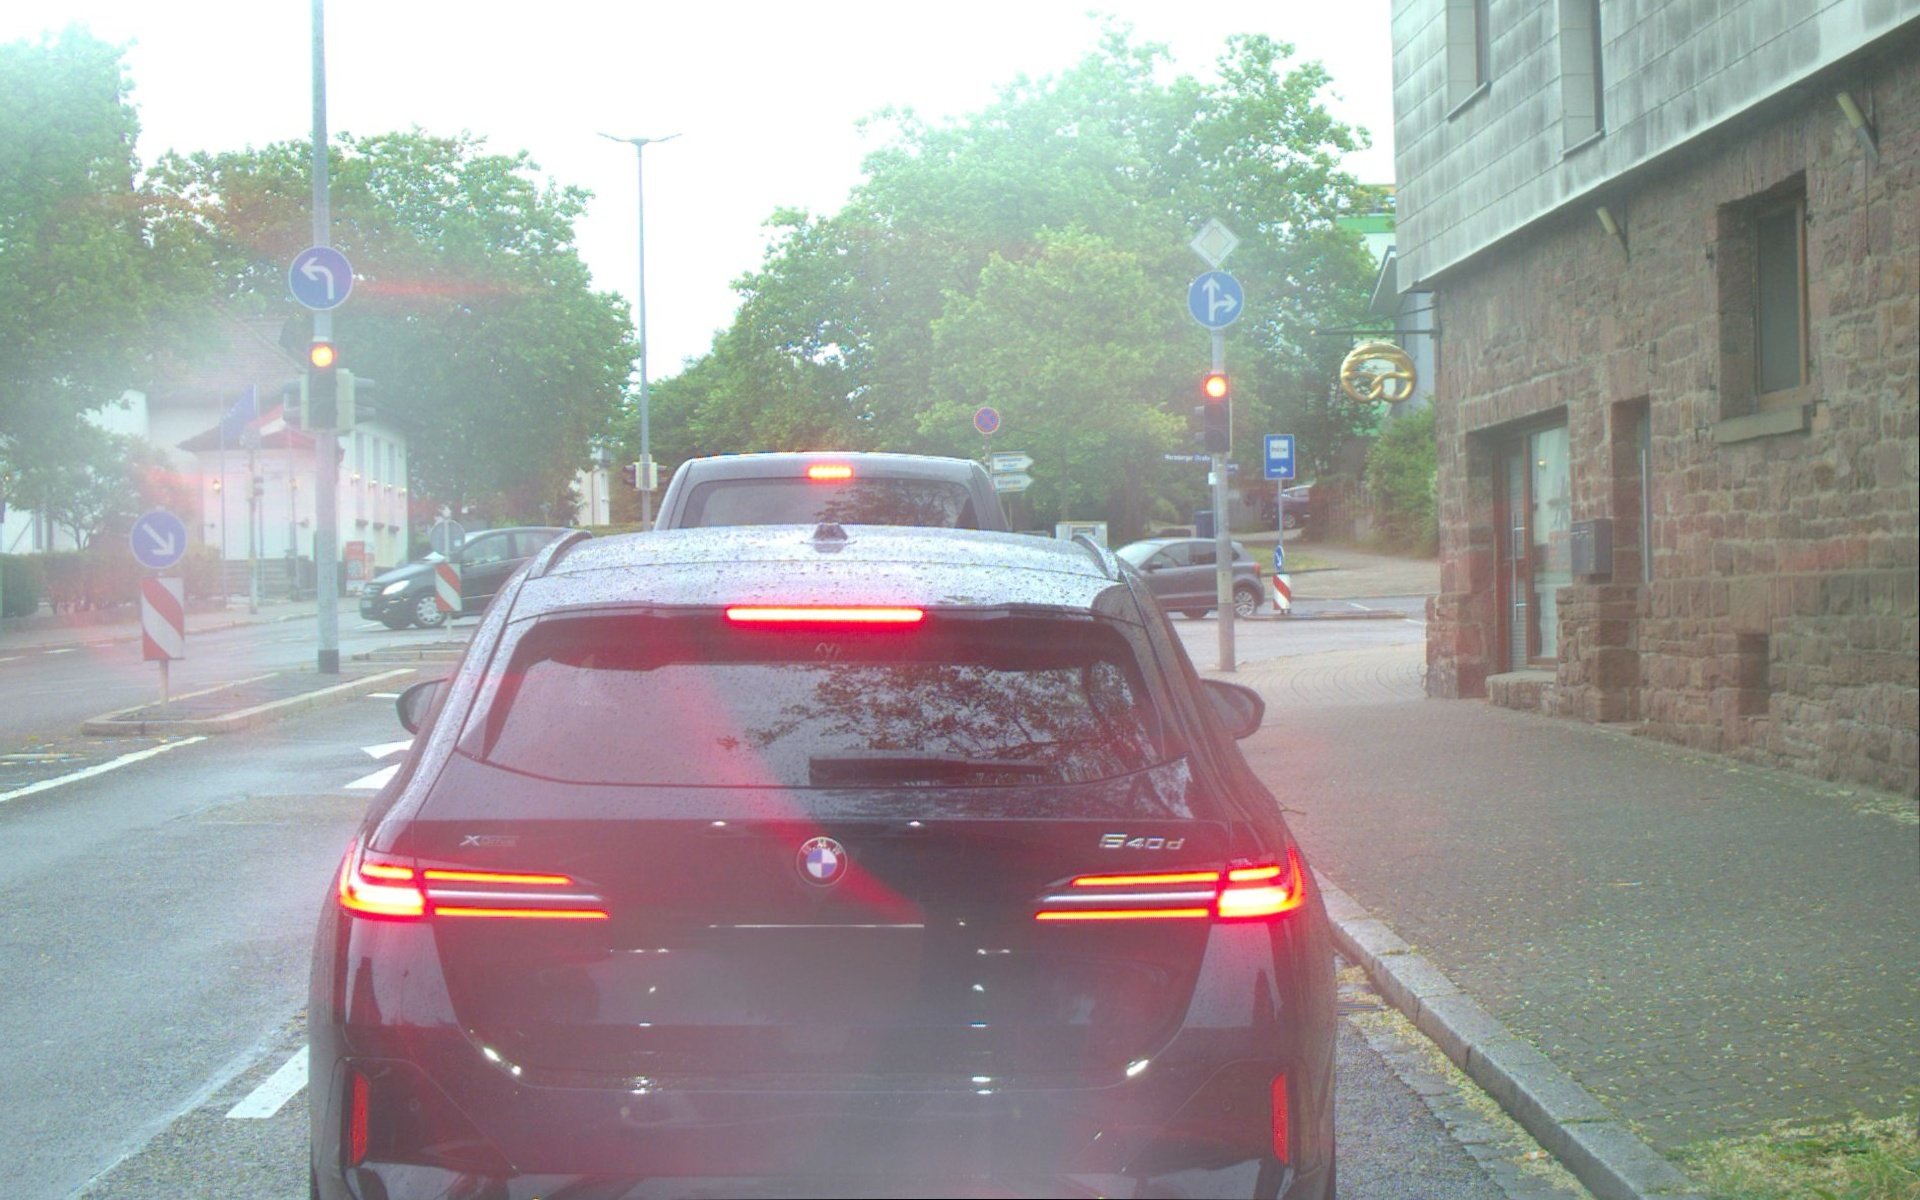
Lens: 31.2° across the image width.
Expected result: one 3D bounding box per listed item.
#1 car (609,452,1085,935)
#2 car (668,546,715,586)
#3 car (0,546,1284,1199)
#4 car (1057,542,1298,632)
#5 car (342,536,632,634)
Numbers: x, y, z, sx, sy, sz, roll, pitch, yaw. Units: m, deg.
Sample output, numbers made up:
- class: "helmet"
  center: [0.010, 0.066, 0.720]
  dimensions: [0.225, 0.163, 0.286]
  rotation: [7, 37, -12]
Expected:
- class: "car"
  center: [-0.519, 0.301, 14.970]
  dimensions: [1.783, 1.811, 4.001]
  rotation: [0, 1, -3]
- class: "car"
  center: [-9.592, -1.223, 122.784]
  dimensions: [1.464, 1.393, 3.322]
  rotation: [0, 1, -1]
- class: "car"
  center: [-0.637, 0.613, 7.714]
  dimensions: [2.064, 1.441, 4.484]
  rotation: [0, 1, -3]
- class: "car"
  center: [3.761, -0.247, 59.820]
  dimensions: [3.941, 1.504, 2.000]
  rotation: [0, 1, -4]
- class: "car"
  center: [-7.911, -0.252, 57.373]
  dimensions: [4.467, 1.581, 2.072]
  rotation: [0, 1, -19]
